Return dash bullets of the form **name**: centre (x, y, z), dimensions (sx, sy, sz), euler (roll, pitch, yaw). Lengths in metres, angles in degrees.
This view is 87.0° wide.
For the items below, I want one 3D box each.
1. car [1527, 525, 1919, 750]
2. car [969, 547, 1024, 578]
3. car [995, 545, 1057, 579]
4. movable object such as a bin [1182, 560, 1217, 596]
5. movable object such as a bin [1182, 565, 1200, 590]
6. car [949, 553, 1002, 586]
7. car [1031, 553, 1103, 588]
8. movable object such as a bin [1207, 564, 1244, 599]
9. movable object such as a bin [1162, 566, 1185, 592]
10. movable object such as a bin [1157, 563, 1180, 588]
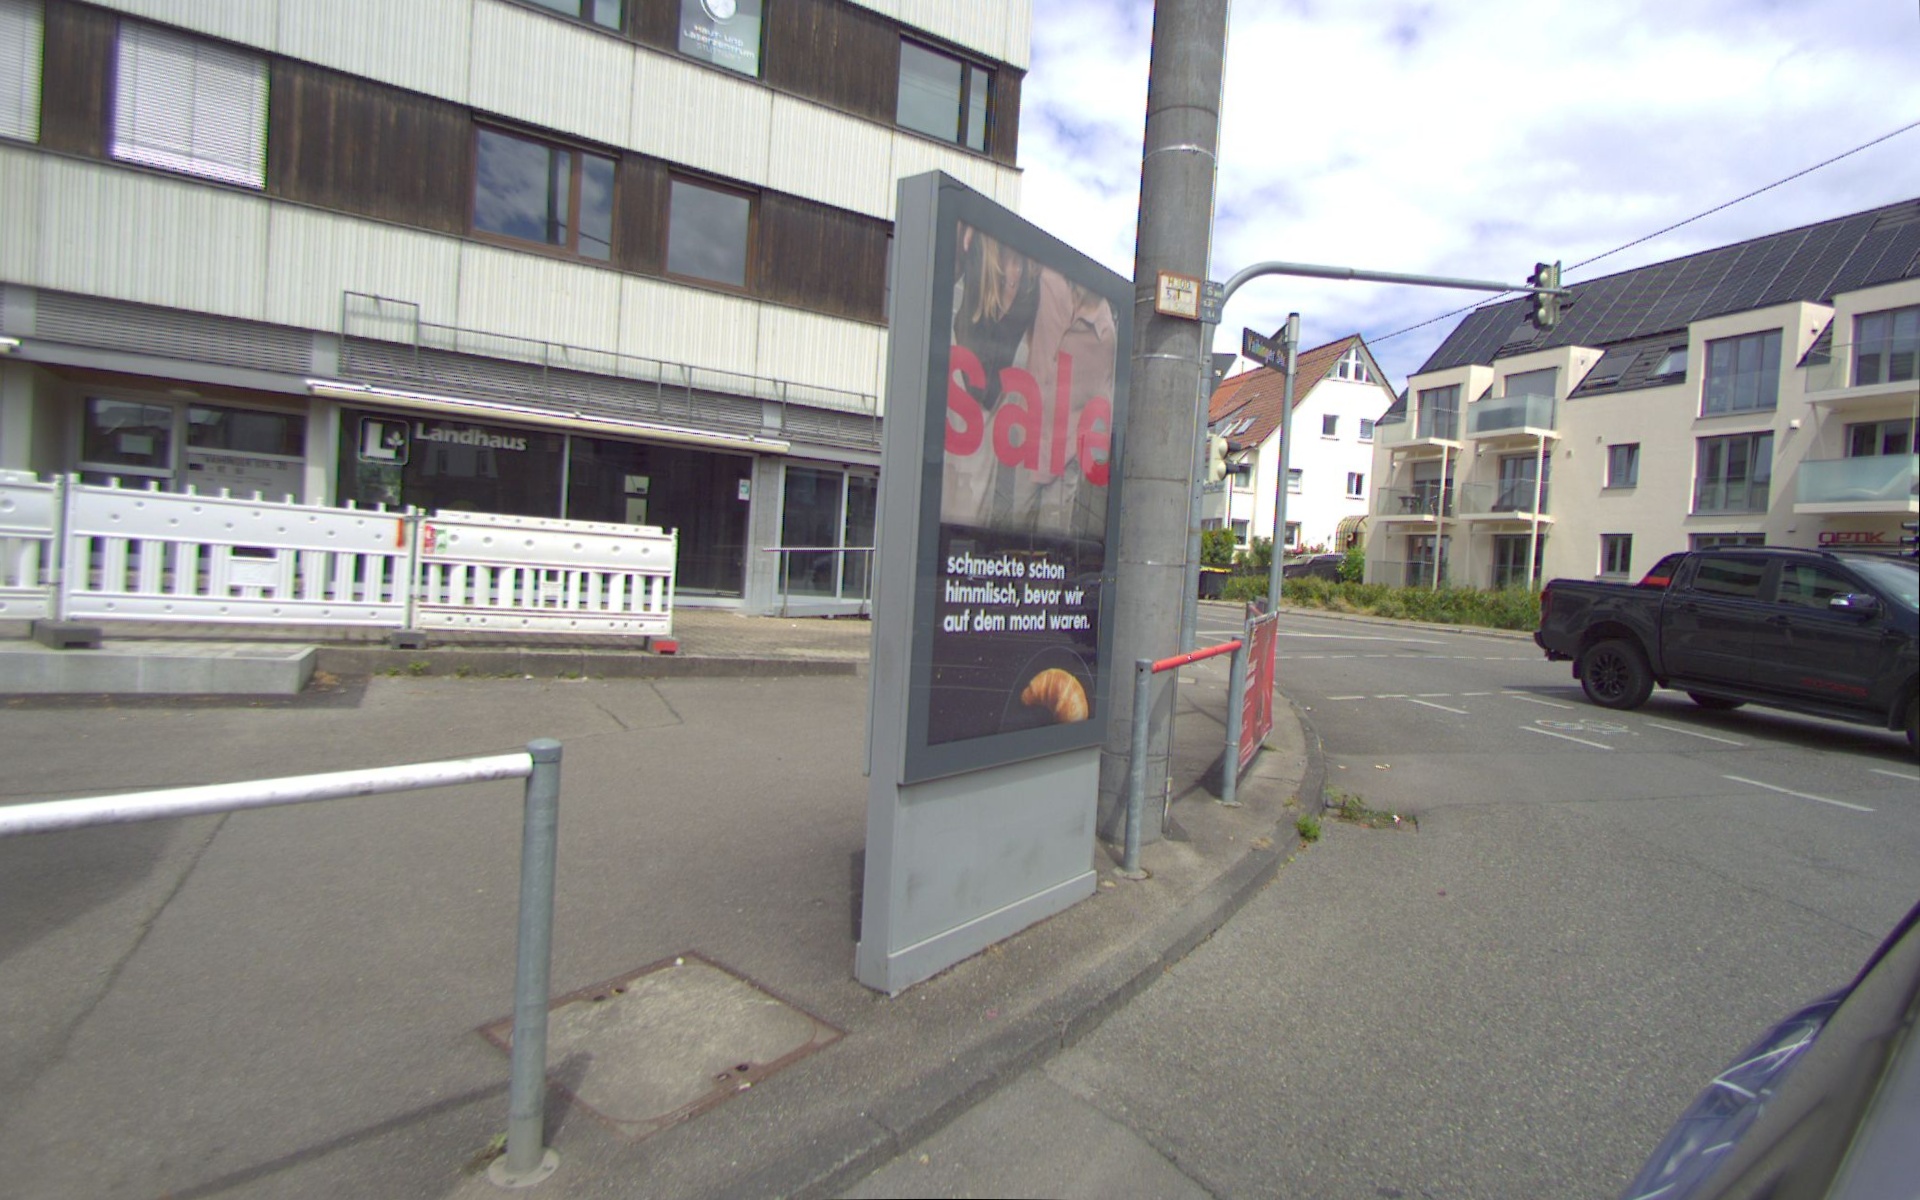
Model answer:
- **car**: centre (8.541, 0.261, 9.998), dimensions (1.848, 1.871, 5.235), euler (2, 3, -16)
- **car**: centre (2.145, -2.256, 60.541), dimensions (1.958, 1.653, 4.248), euler (2, 3, -17)
- **car**: centre (3.608, -2.141, 56.148), dimensions (1.958, 1.653, 4.465), euler (2, 3, -17)
- **movable object such as a bin**: centre (10.409, -0.953, 43.968), dimensions (1.070, 1.464, 0.983), euler (2, 2, -16)
- **movable object such as a bin**: centre (10.236, -0.989, 44.867), dimensions (0.520, 1.078, 0.648), euler (4, 3, 35)
- **car**: centre (0.951, -2.009, 64.945), dimensions (1.959, 1.651, 4.248), euler (11, 0, -17)
- **car**: centre (5.219, -1.496, 49.981), dimensions (1.781, 1.519, 4.465), euler (2, 3, -19)
- **movable object such as a bin**: centre (11.094, -0.795, 42.359), dimensions (1.070, 1.379, 0.983), euler (2, 2, -16)
- **movable object such as a bin**: centre (9.451, -0.936, 44.835), dimensions (0.748, 1.078, 0.694), euler (2, 2, -9)
- **movable object such as a bin**: centre (9.375, -1.111, 45.525), dimensions (0.748, 1.078, 0.694), euler (2, 2, -9)
